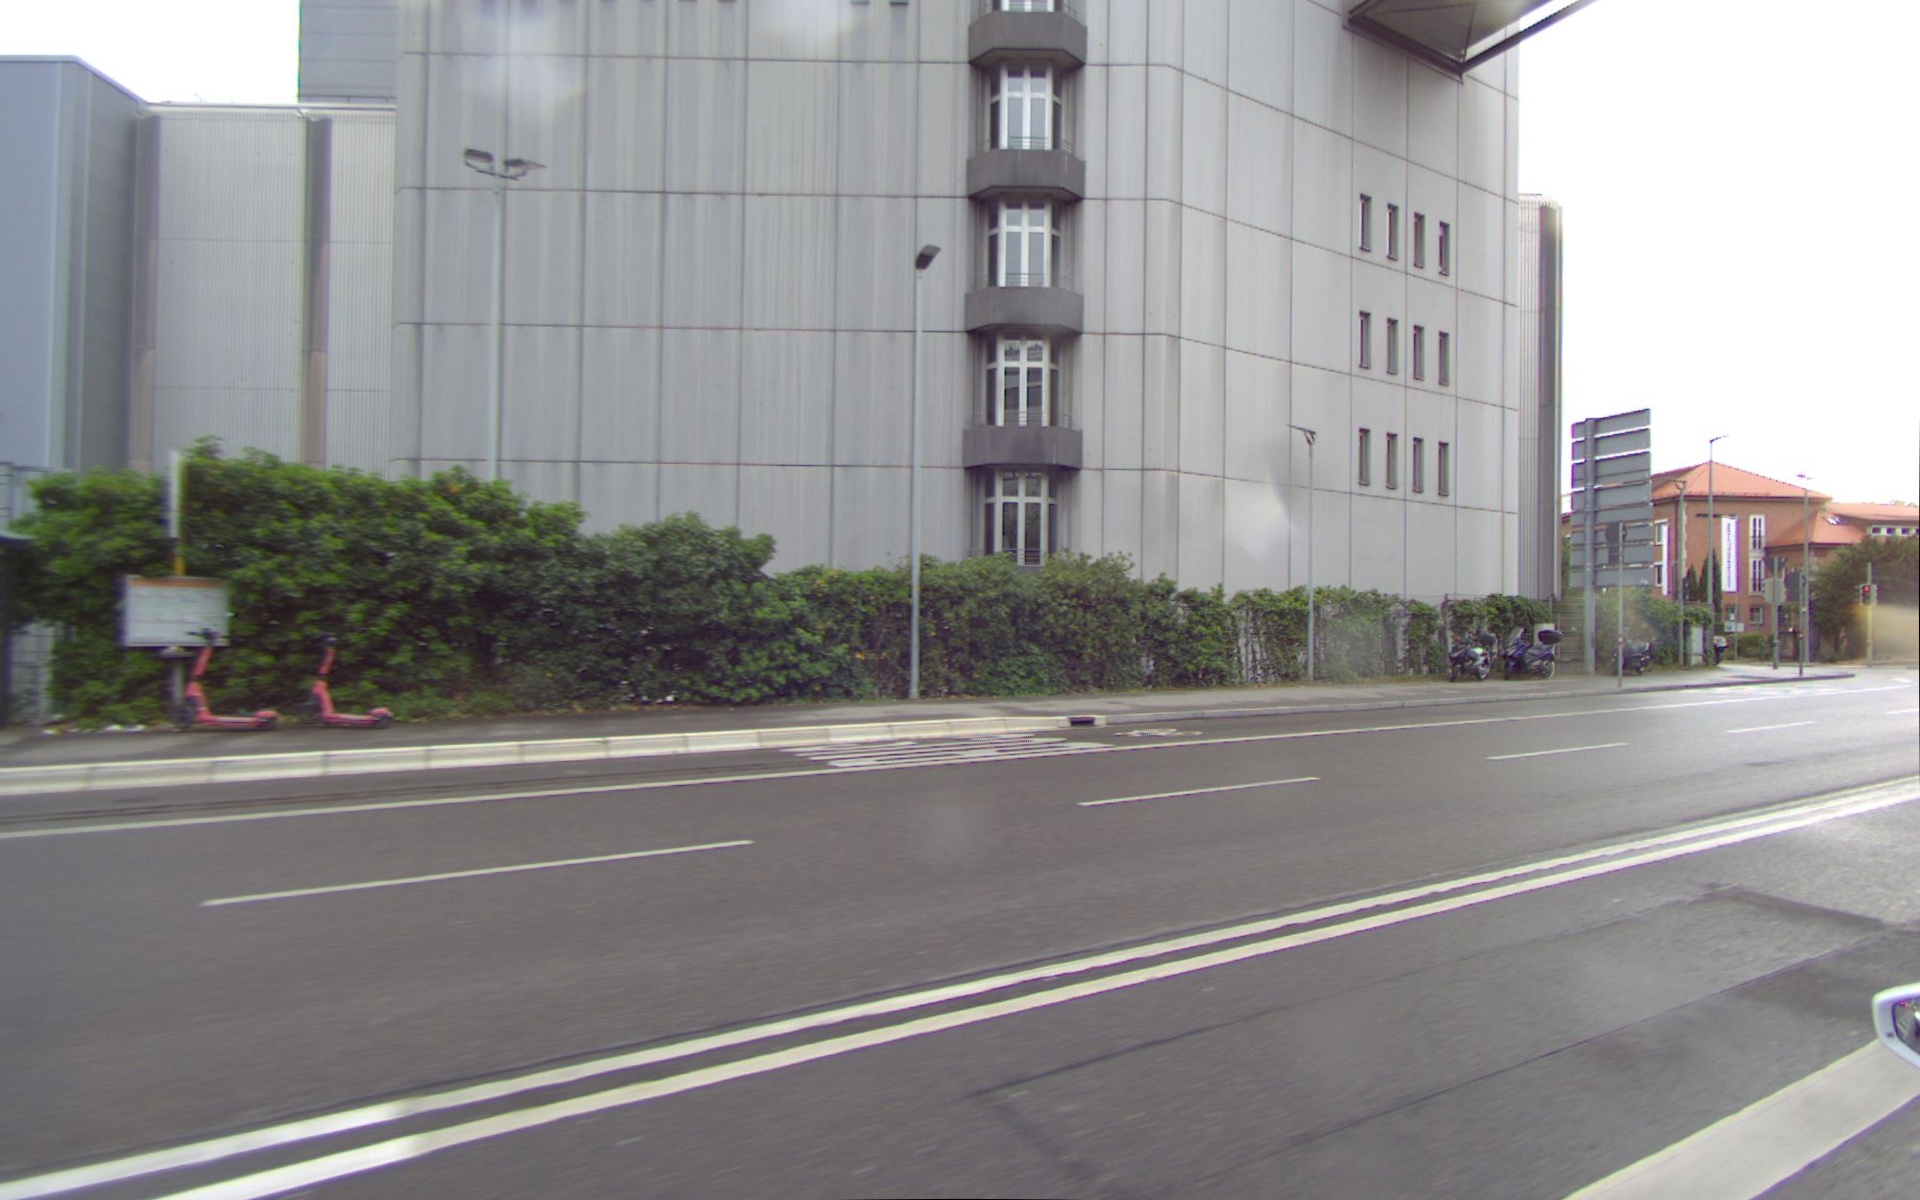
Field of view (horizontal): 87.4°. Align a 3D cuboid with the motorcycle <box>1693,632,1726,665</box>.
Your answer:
[{"bbox_3d":[28.765,1.848,38.579,0.759,1.234,2.504,-1,-2,31],"label":"motorcycle"}]

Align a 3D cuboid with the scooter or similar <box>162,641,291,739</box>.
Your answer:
[{"bbox_3d":[-9.209,1.118,12.645,1.230,1.196,0.388,1,-1,-17],"label":"scooter or similar"}]

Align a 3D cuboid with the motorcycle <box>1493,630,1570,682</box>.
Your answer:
[{"bbox_3d":[15.701,1.508,27.600,2.342,1.365,0.781,1,-2,-31],"label":"motorcycle"}]

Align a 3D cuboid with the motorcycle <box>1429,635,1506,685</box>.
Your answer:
[{"bbox_3d":[13.351,1.553,26.402,2.132,1.267,0.781,1,-2,-31],"label":"motorcycle"}]

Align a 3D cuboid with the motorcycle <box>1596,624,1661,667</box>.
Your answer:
[{"bbox_3d":[20.315,1.370,30.512,2.132,1.263,0.781,1,-2,-31],"label":"motorcycle"}]

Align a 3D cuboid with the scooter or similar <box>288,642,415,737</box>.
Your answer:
[{"bbox_3d":[-7.965,1.160,13.186,1.355,1.196,0.378,1,-1,-17],"label":"scooter or similar"}]
